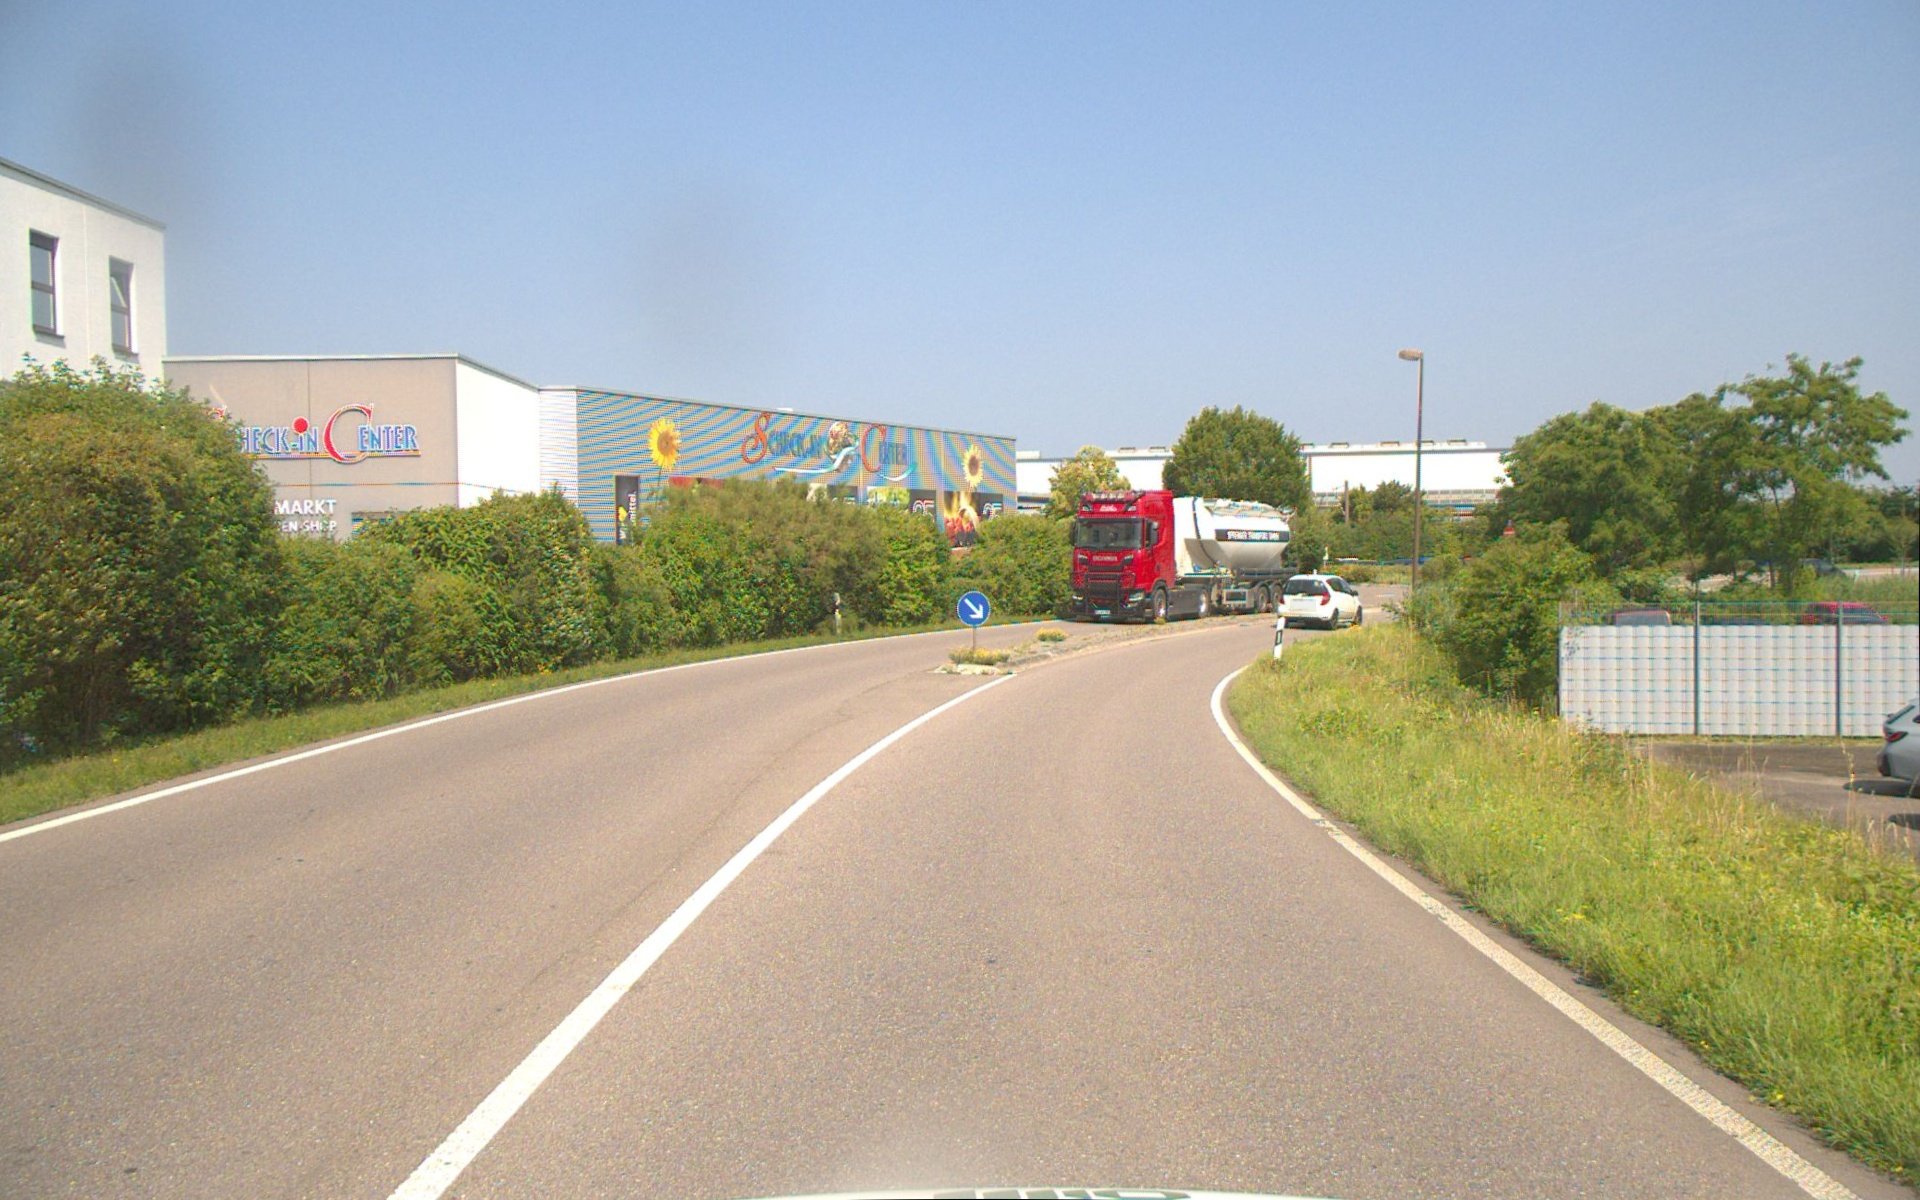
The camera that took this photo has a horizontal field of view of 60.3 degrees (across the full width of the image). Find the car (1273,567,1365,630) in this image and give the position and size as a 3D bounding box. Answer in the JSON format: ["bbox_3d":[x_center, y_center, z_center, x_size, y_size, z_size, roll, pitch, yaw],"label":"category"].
[{"bbox_3d":[10.968,-0.019,50.367,1.747,1.630,3.889,6,1,26],"label":"car"}]

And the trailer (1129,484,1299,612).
[{"bbox_3d":[8.954,-1.656,57.236,2.826,4.101,8.678,0,0,30],"label":"trailer"}]

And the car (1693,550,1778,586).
[{"bbox_3d":[37.841,-1.531,80.673,3.732,1.631,1.773,2,0,-25],"label":"car"}]

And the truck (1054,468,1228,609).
[{"bbox_3d":[5.792,-1.788,51.912,2.829,4.101,6.705,0,0,31],"label":"truck"}]

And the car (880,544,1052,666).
[{"bbox_3d":[0.192,0.080,30.014,1.952,2.049,4.001,0,0,18],"label":"car"}]

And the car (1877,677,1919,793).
[{"bbox_3d":[15.495,1.993,23.285,4.290,1.529,1.834,1,2,39],"label":"car"}]

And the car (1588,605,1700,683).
[{"bbox_3d":[18.827,1.167,45.701,1.951,2.049,4.003,0,0,9],"label":"car"}]
